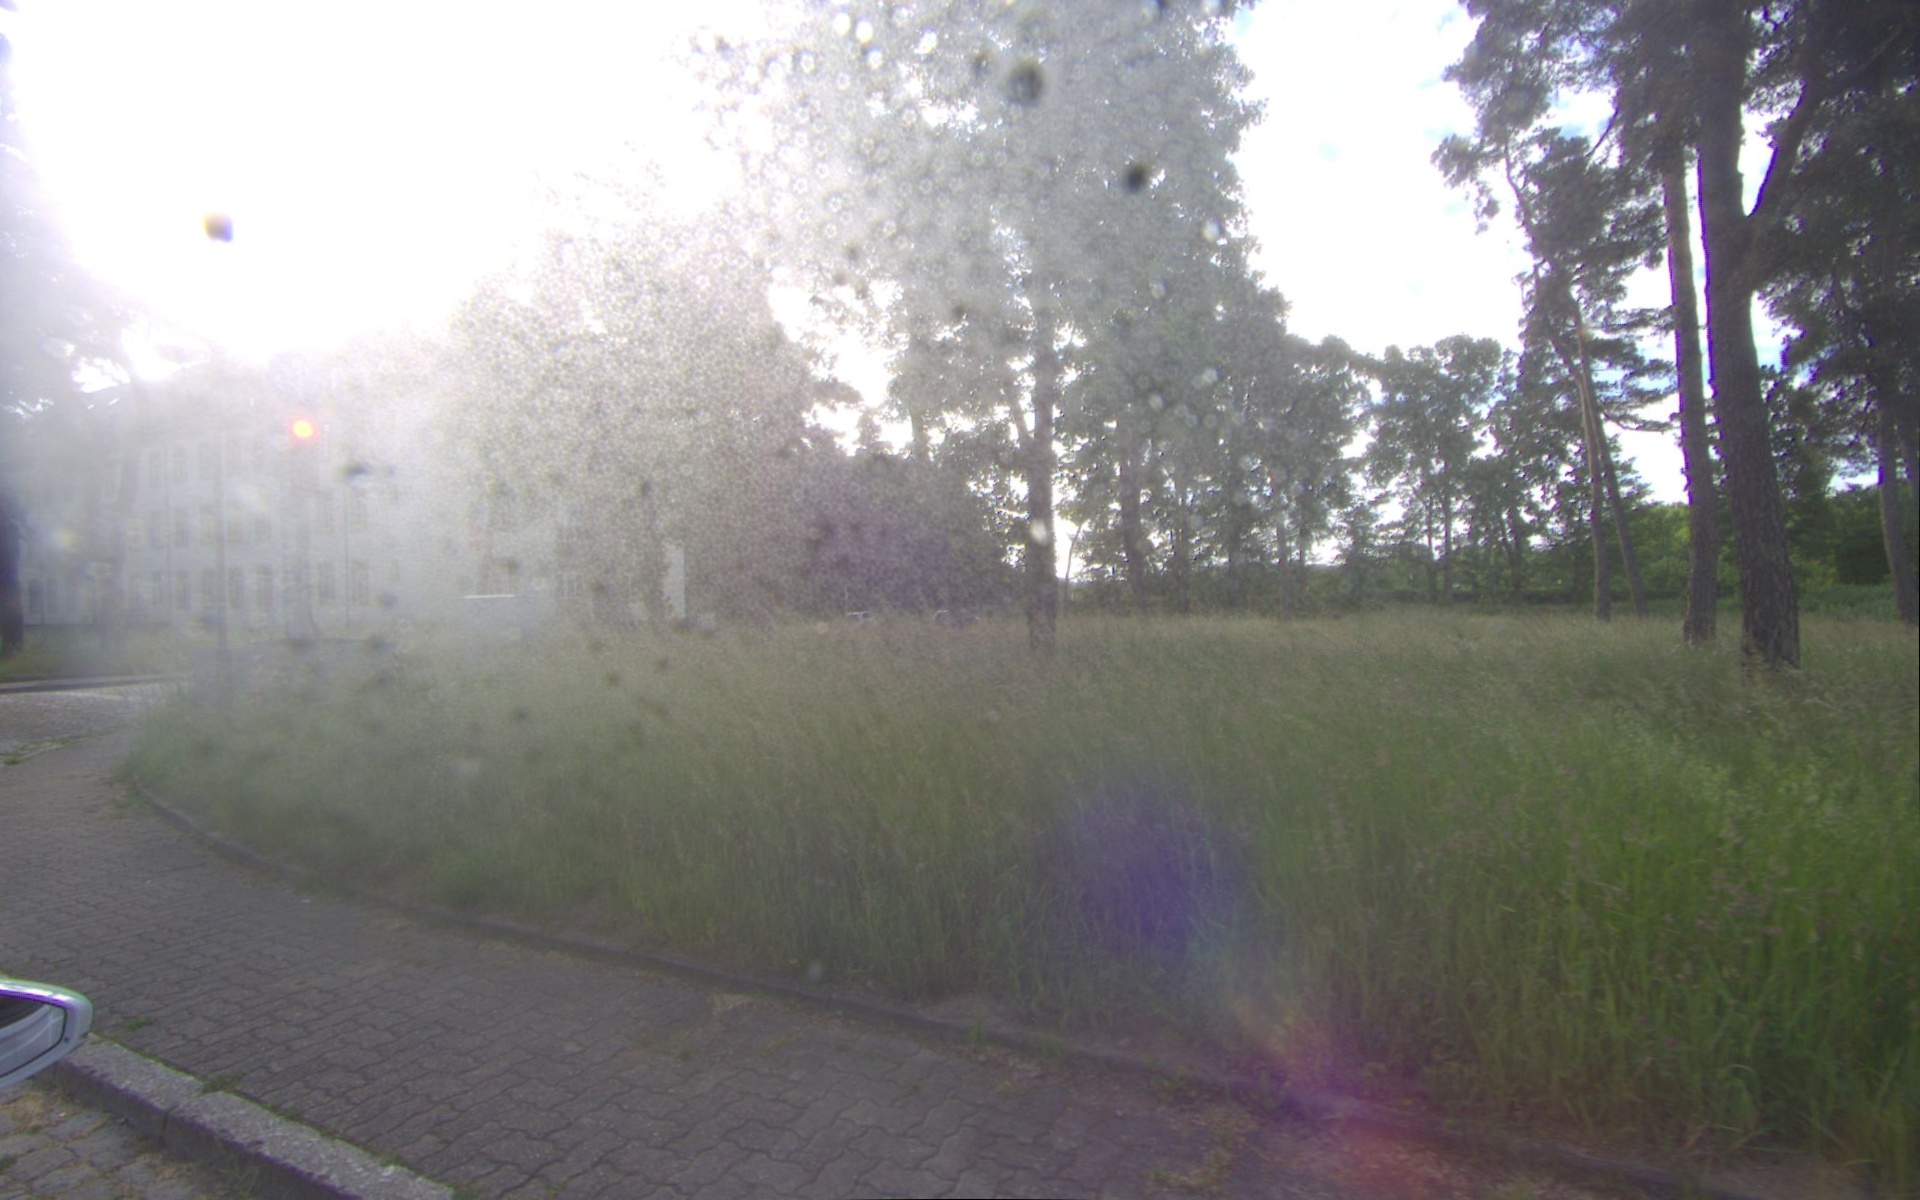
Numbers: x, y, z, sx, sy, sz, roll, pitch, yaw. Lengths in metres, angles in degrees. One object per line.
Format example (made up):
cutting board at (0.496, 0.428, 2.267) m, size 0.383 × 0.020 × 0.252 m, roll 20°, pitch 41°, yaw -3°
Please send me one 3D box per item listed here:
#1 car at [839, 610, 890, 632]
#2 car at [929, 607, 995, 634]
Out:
car at (-6.506, 1.448, 68.714) m, size 1.540 × 1.415 × 3.985 m, roll -1°, pitch -3°, yaw 29°
car at (0.115, 1.299, 63.662) m, size 3.924 × 1.622 × 1.999 m, roll -1°, pitch 0°, yaw -8°
